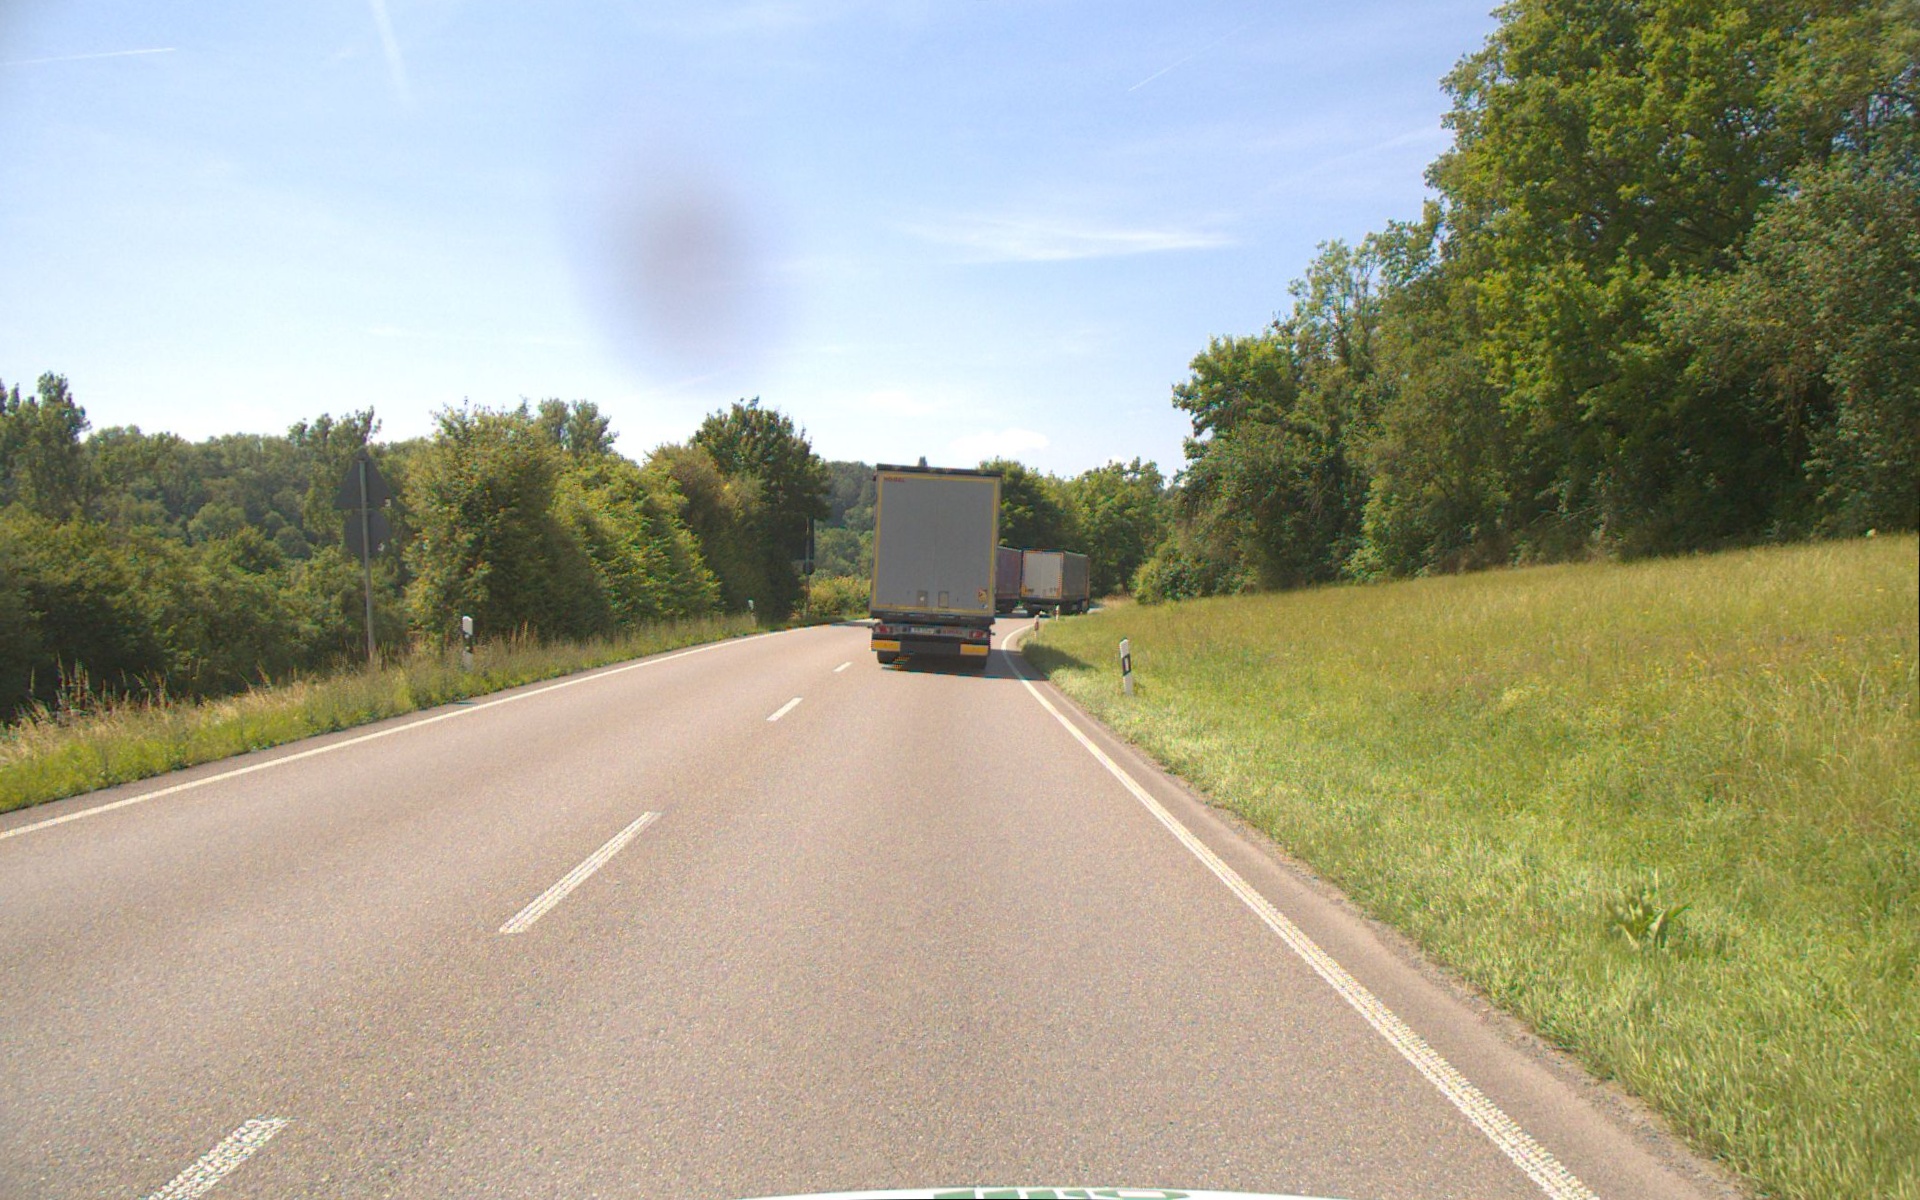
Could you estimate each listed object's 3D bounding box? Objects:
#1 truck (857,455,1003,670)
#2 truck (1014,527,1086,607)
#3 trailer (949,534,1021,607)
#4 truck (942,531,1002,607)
[{"bbox_3d":[-0.621,-0.743,40.126,2.744,4.139,15.324,2,0,0],"label":"truck"},{"bbox_3d":[6.070,-2.149,108.123,3.039,4.787,16.604,2,1,8],"label":"truck"},{"bbox_3d":[1.719,-1.733,104.129,2.514,4.179,13.673,4,0,8],"label":"trailer"},{"bbox_3d":[0.754,-1.772,97.335,2.505,4.186,5.804,4,0,8],"label":"truck"}]
